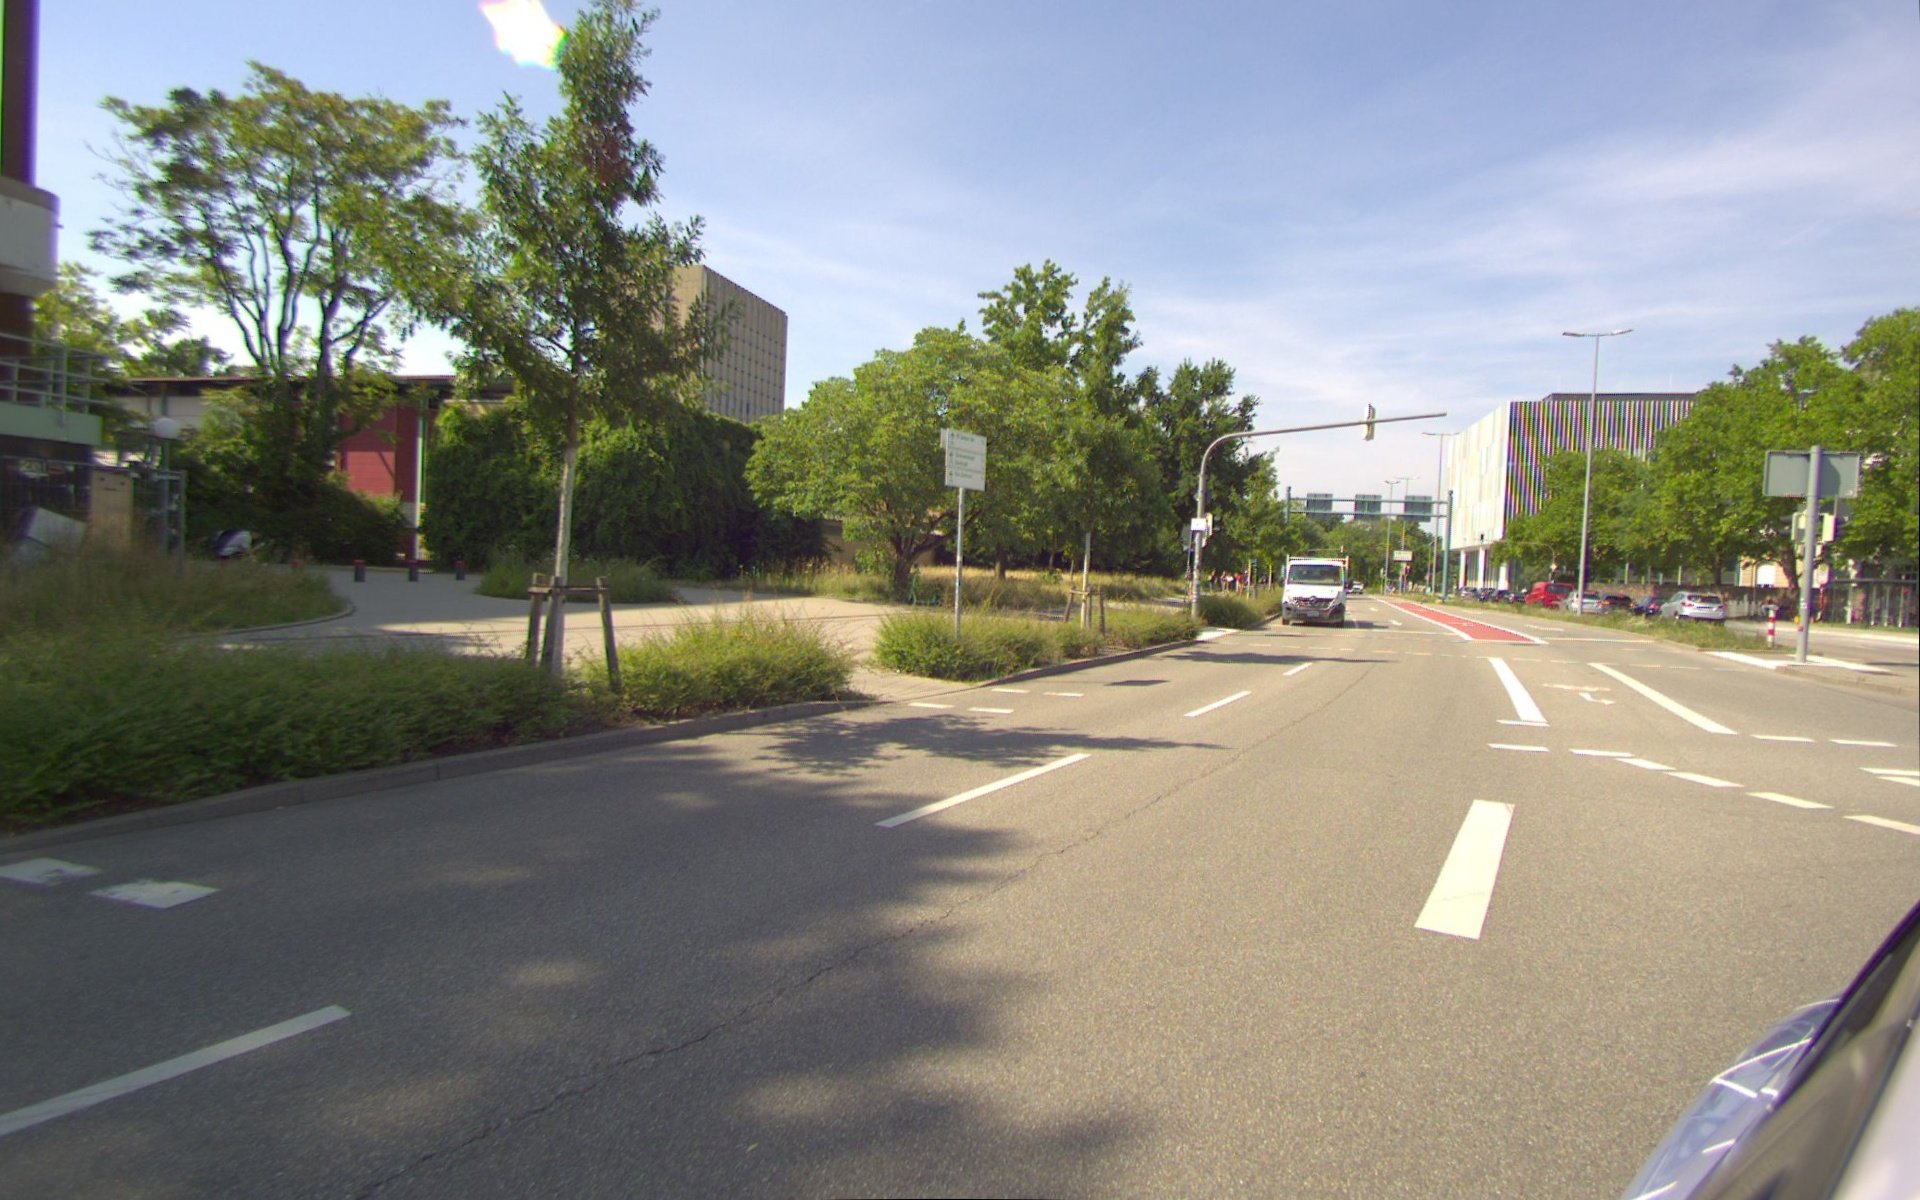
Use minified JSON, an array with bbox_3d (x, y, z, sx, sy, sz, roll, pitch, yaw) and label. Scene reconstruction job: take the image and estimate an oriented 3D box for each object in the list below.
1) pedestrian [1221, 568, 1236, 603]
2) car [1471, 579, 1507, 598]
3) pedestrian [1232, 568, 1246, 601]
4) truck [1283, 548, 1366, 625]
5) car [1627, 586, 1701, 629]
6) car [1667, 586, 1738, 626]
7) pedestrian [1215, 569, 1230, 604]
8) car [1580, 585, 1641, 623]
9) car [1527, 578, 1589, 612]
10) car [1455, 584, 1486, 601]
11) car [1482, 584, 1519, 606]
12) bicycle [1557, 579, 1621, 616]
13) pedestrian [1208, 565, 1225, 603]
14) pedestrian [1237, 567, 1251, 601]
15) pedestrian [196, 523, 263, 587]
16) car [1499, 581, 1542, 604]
[{"bbox_3d":[20.850,-1.117,78.473,0.941,2.565,1.117,3,-1,17],"label":"pedestrian"},{"bbox_3d":[44.266,-0.997,84.754,1.774,1.529,3.982,1,2,15],"label":"car"},{"bbox_3d":[21.952,-1.216,79.616,0.941,2.565,1.117,3,-1,17],"label":"pedestrian"},{"bbox_3d":[12.729,-0.544,35.754,2.381,2.384,7.010,2,2,17],"label":"truck"},{"bbox_3d":[36.215,0.385,52.175,1.975,2.039,3.975,3,0,19],"label":"car"},{"bbox_3d":[34.231,0.229,46.762,1.694,1.638,4.183,4,3,24],"label":"car"},{"bbox_3d":[19.998,-1.003,76.966,0.941,2.565,1.117,3,-1,17],"label":"pedestrian"},{"bbox_3d":[38.011,0.268,59.246,1.975,2.039,3.975,3,0,19],"label":"car"},{"bbox_3d":[35.842,-0.348,60.759,1.952,1.819,4.589,3,3,16],"label":"car"},{"bbox_3d":[48.458,-0.750,96.133,1.774,1.529,3.982,1,2,15],"label":"car"},{"bbox_3d":[41.357,-0.420,77.513,1.776,1.529,3.979,1,2,17],"label":"car"},{"bbox_3d":[34.040,-0.179,54.857,1.974,1.837,3.977,3,2,18],"label":"bicycle"},{"bbox_3d":[18.043,-1.118,71.141,0.941,2.565,1.117,3,-1,17],"label":"pedestrian"},{"bbox_3d":[21.864,-1.222,77.880,0.941,2.565,1.117,3,-1,17],"label":"pedestrian"},{"bbox_3d":[-15.038,-0.919,20.843,0.749,1.229,0.789,3,0,24],"label":"pedestrian"},{"bbox_3d":[39.262,-0.544,71.003,1.776,1.529,3.979,1,2,17],"label":"car"}]
